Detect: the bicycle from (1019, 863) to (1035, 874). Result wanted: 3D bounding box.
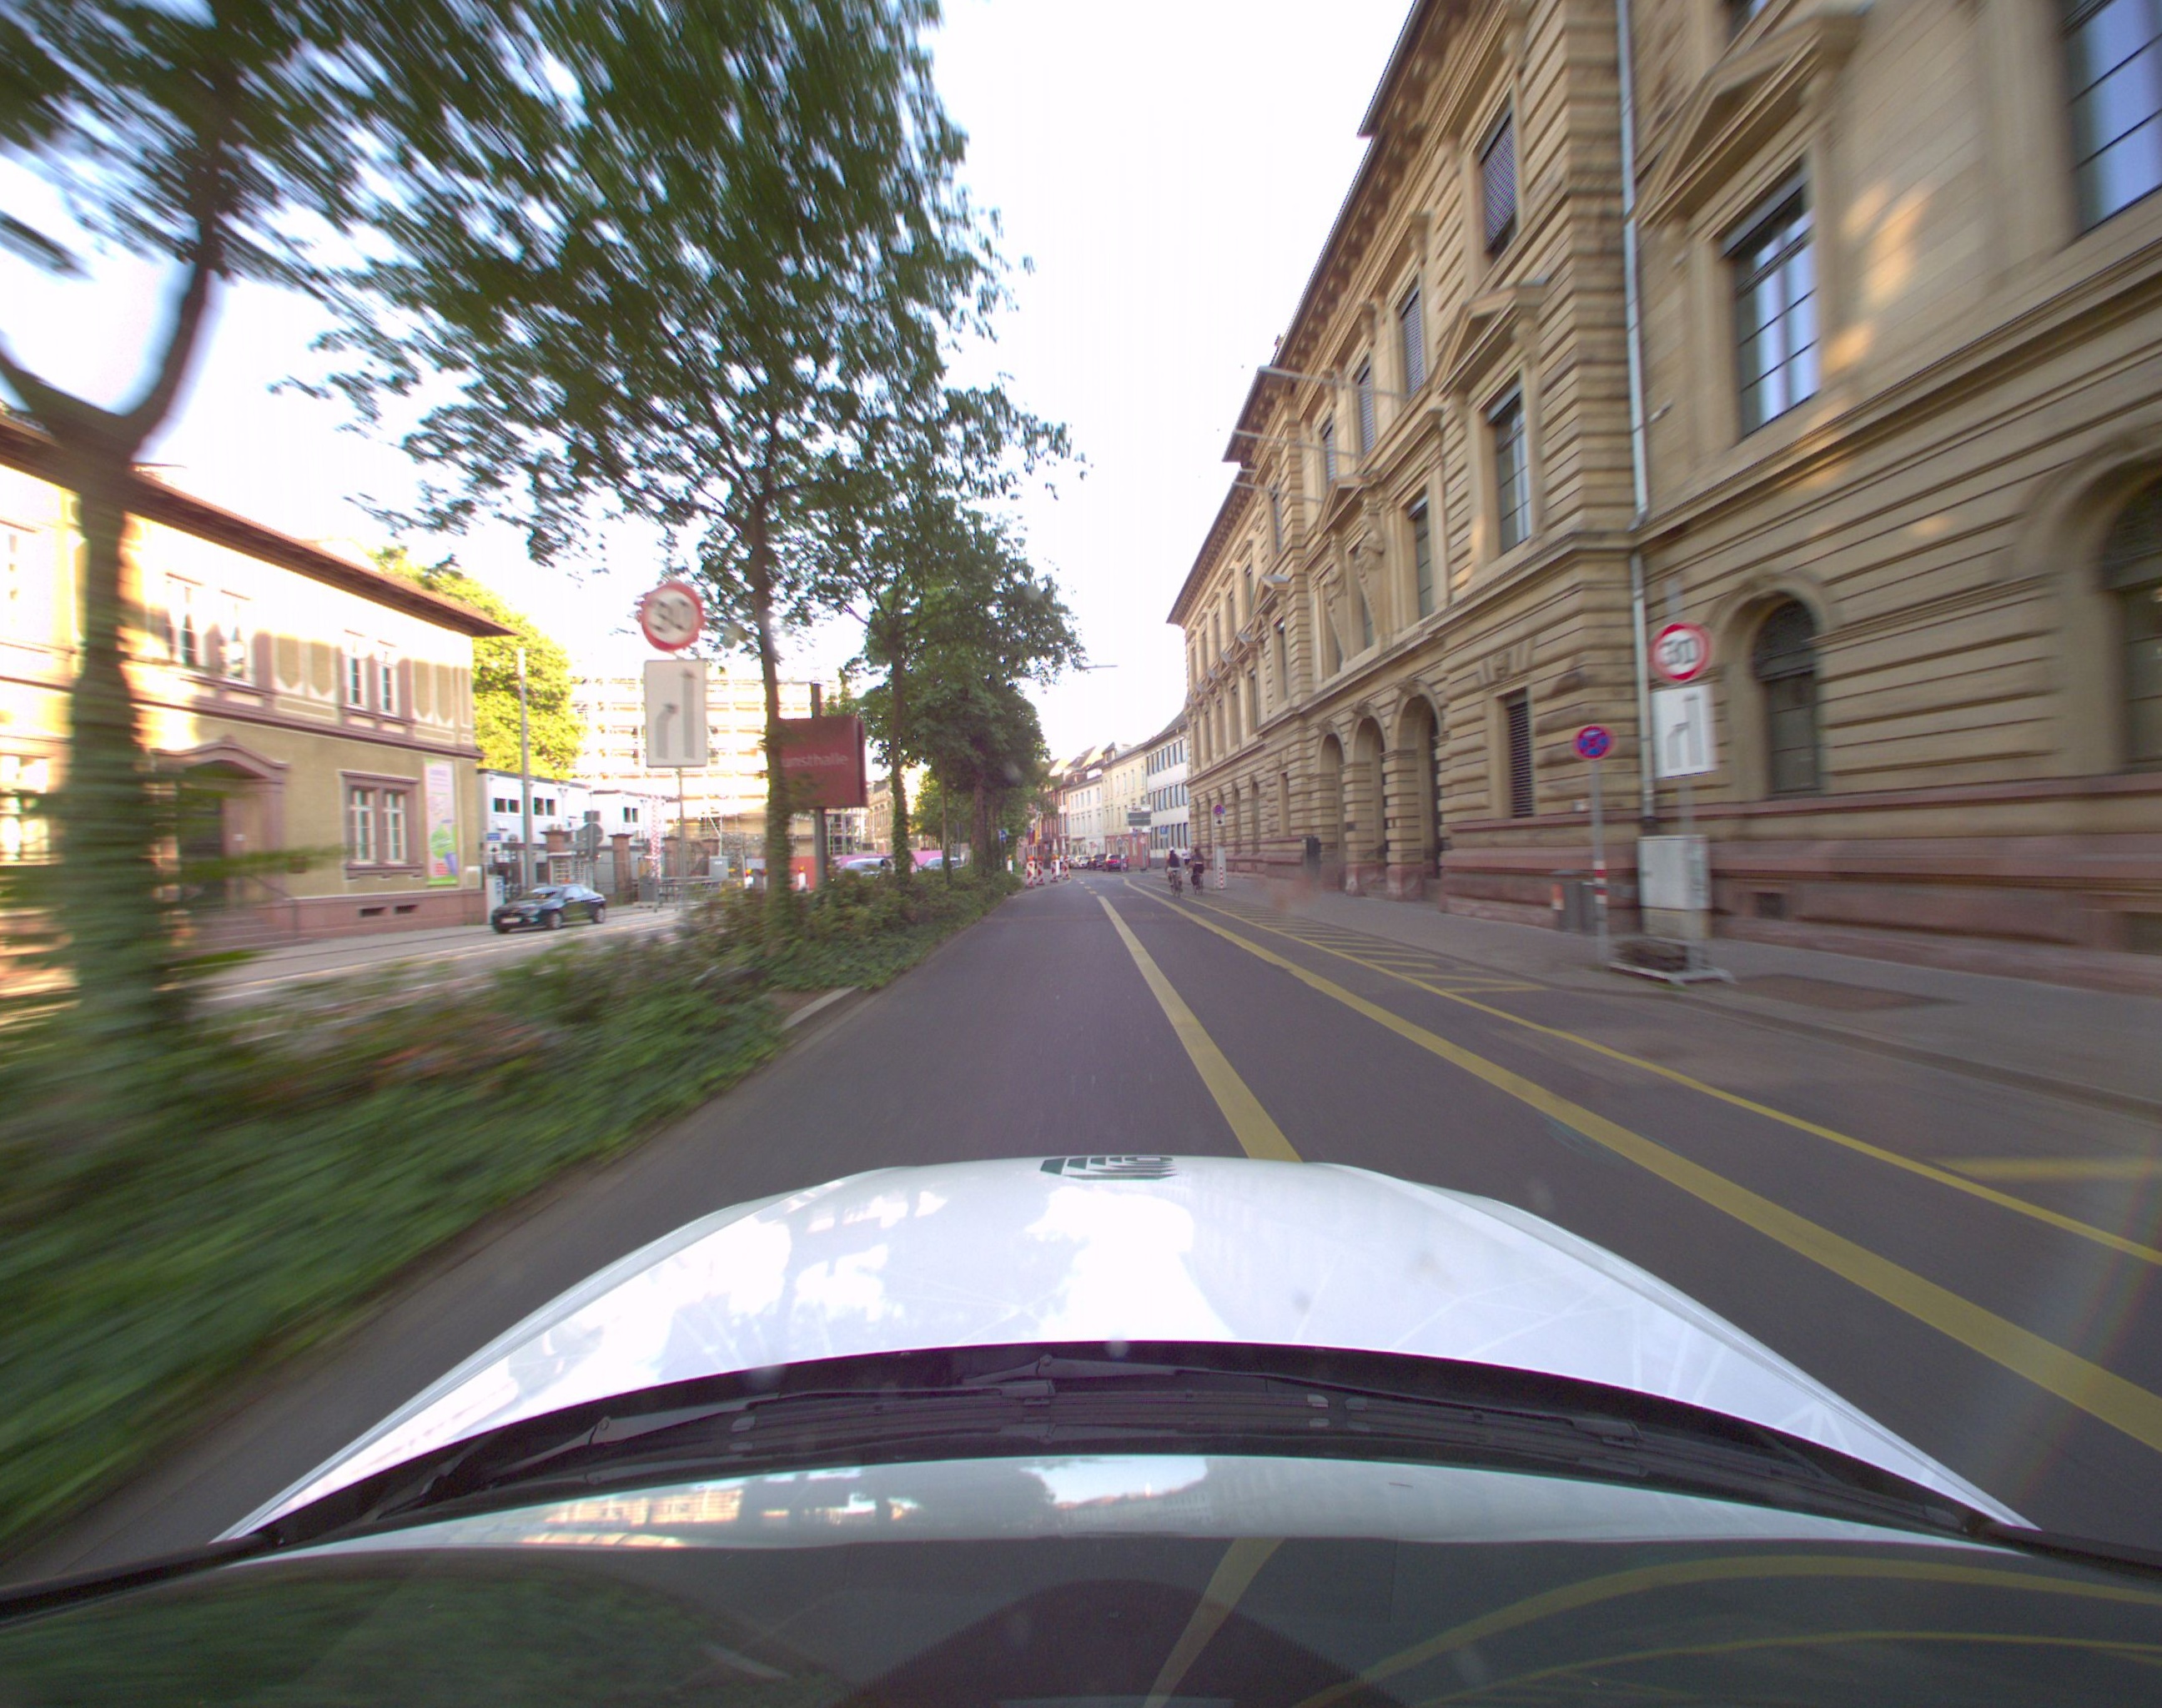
[{"bbox_3d":[-5.364,1.448,81.049,0.754,1.037,2.132,-2,0,23],"label":"bicycle"}]

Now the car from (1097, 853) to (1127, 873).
[{"bbox_3d":[2.795,0.793,73.983,1.814,1.682,3.903,-2,0,-12],"label":"car"}]

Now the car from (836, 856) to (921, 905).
[{"bbox_3d":[-7.889,0.972,32.121,1.834,1.674,4.561,-4,0,4],"label":"car"}]

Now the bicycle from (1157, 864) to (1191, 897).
[{"bbox_3d":[3.185,0.883,28.001,0.669,1.071,1.895,-1,0,-9],"label":"bicycle"}]

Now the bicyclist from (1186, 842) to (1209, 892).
[{"bbox_3d":[4.207,0.457,29.489,0.648,1.760,0.862,0,0,-6],"label":"bicyclist"}]

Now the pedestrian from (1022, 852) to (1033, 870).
[{"bbox_3d":[-5.334,0.686,80.797,0.728,1.674,0.900,-2,0,23],"label":"pedestrian"}]

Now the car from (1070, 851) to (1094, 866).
[{"bbox_3d":[0.073,0.463,90.084,1.814,1.560,3.847,-2,0,-13],"label":"car"}]

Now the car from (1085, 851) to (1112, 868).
[{"bbox_3d":[1.729,0.565,81.912,1.814,1.684,3.983,-2,0,-12],"label":"car"}]

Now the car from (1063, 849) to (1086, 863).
[{"bbox_3d":[-0.784,0.209,94.522,1.814,1.560,3.847,-2,0,-13],"label":"car"}]

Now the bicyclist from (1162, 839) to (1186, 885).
[{"bbox_3d":[3.179,0.265,27.994,0.668,1.566,0.696,0,-1,-8],"label":"bicyclist"}]

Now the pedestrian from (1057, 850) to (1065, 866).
[{"bbox_3d":[-2.313,0.471,94.220,0.827,1.844,0.958,-1,0,3],"label":"pedestrian"}]

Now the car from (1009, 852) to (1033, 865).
[{"bbox_3d":[-7.509,0.591,102.191,1.820,1.560,3.834,-2,0,-23],"label":"car"}]

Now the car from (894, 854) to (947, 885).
[{"bbox_3d":[-8.944,0.843,45.706,1.835,1.551,4.178,-4,0,3],"label":"car"}]

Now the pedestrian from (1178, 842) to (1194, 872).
[{"bbox_3d":[6.284,0.180,48.756,0.813,1.765,1.039,-1,0,3],"label":"pedestrian"}]

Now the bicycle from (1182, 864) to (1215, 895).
[{"bbox_3d":[4.220,0.890,29.415,0.652,1.071,2.253,0,0,-6],"label":"bicycle"}]

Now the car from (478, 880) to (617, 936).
[{"bbox_3d":[-16.219,1.586,25.000,1.675,1.351,3.885,-4,0,-1],"label":"car"}]
